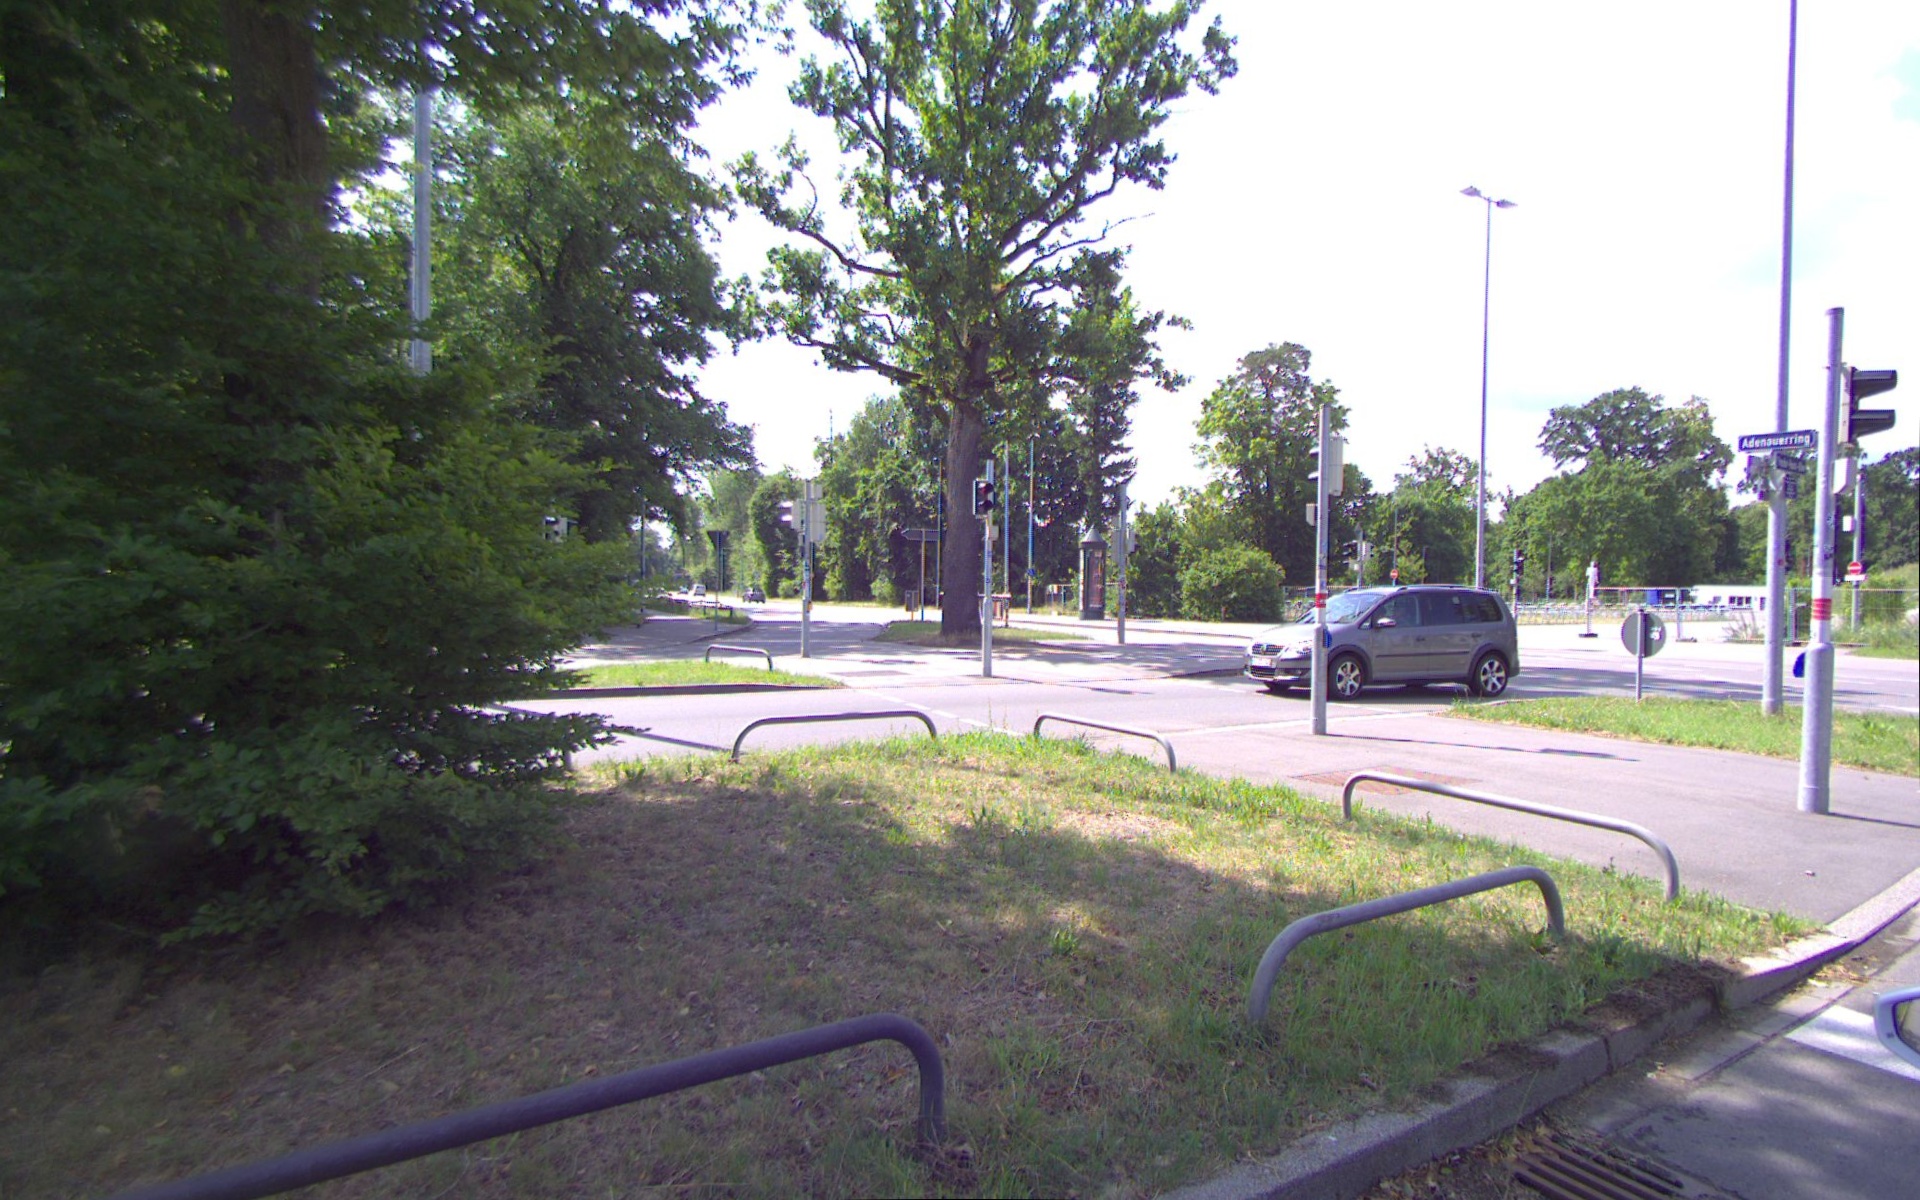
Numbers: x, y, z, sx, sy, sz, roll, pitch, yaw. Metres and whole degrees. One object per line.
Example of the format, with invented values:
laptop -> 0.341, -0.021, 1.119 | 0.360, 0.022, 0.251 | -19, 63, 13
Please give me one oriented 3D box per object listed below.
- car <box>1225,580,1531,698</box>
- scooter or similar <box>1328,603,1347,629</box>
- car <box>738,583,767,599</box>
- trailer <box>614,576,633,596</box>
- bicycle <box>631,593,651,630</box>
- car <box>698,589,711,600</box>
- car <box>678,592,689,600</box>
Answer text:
car -> 6.448, 0.565, 15.571 | 4.229, 1.651, 1.760 | 0, 0, -17
scooter or similar -> 18.422, 0.767, 49.048 | 0.399, 1.216, 1.312 | 0, 1, 0
car -> -20.700, -0.917, 100.080 | 1.848, 1.529, 4.020 | 2, 0, -26
trailer -> -42.210, -1.704, 125.815 | 1.971, 2.420, 3.979 | 2, 0, -22
bicycle -> -10.490, 0.361, 33.067 | 0.413, 1.189, 1.228 | 2, 0, -8
car -> -42.445, -0.866, 166.742 | 1.689, 1.714, 3.698 | 2, 0, -20
car -> -53.771, -0.777, 195.458 | 1.810, 1.514, 4.088 | 2, 0, -20
